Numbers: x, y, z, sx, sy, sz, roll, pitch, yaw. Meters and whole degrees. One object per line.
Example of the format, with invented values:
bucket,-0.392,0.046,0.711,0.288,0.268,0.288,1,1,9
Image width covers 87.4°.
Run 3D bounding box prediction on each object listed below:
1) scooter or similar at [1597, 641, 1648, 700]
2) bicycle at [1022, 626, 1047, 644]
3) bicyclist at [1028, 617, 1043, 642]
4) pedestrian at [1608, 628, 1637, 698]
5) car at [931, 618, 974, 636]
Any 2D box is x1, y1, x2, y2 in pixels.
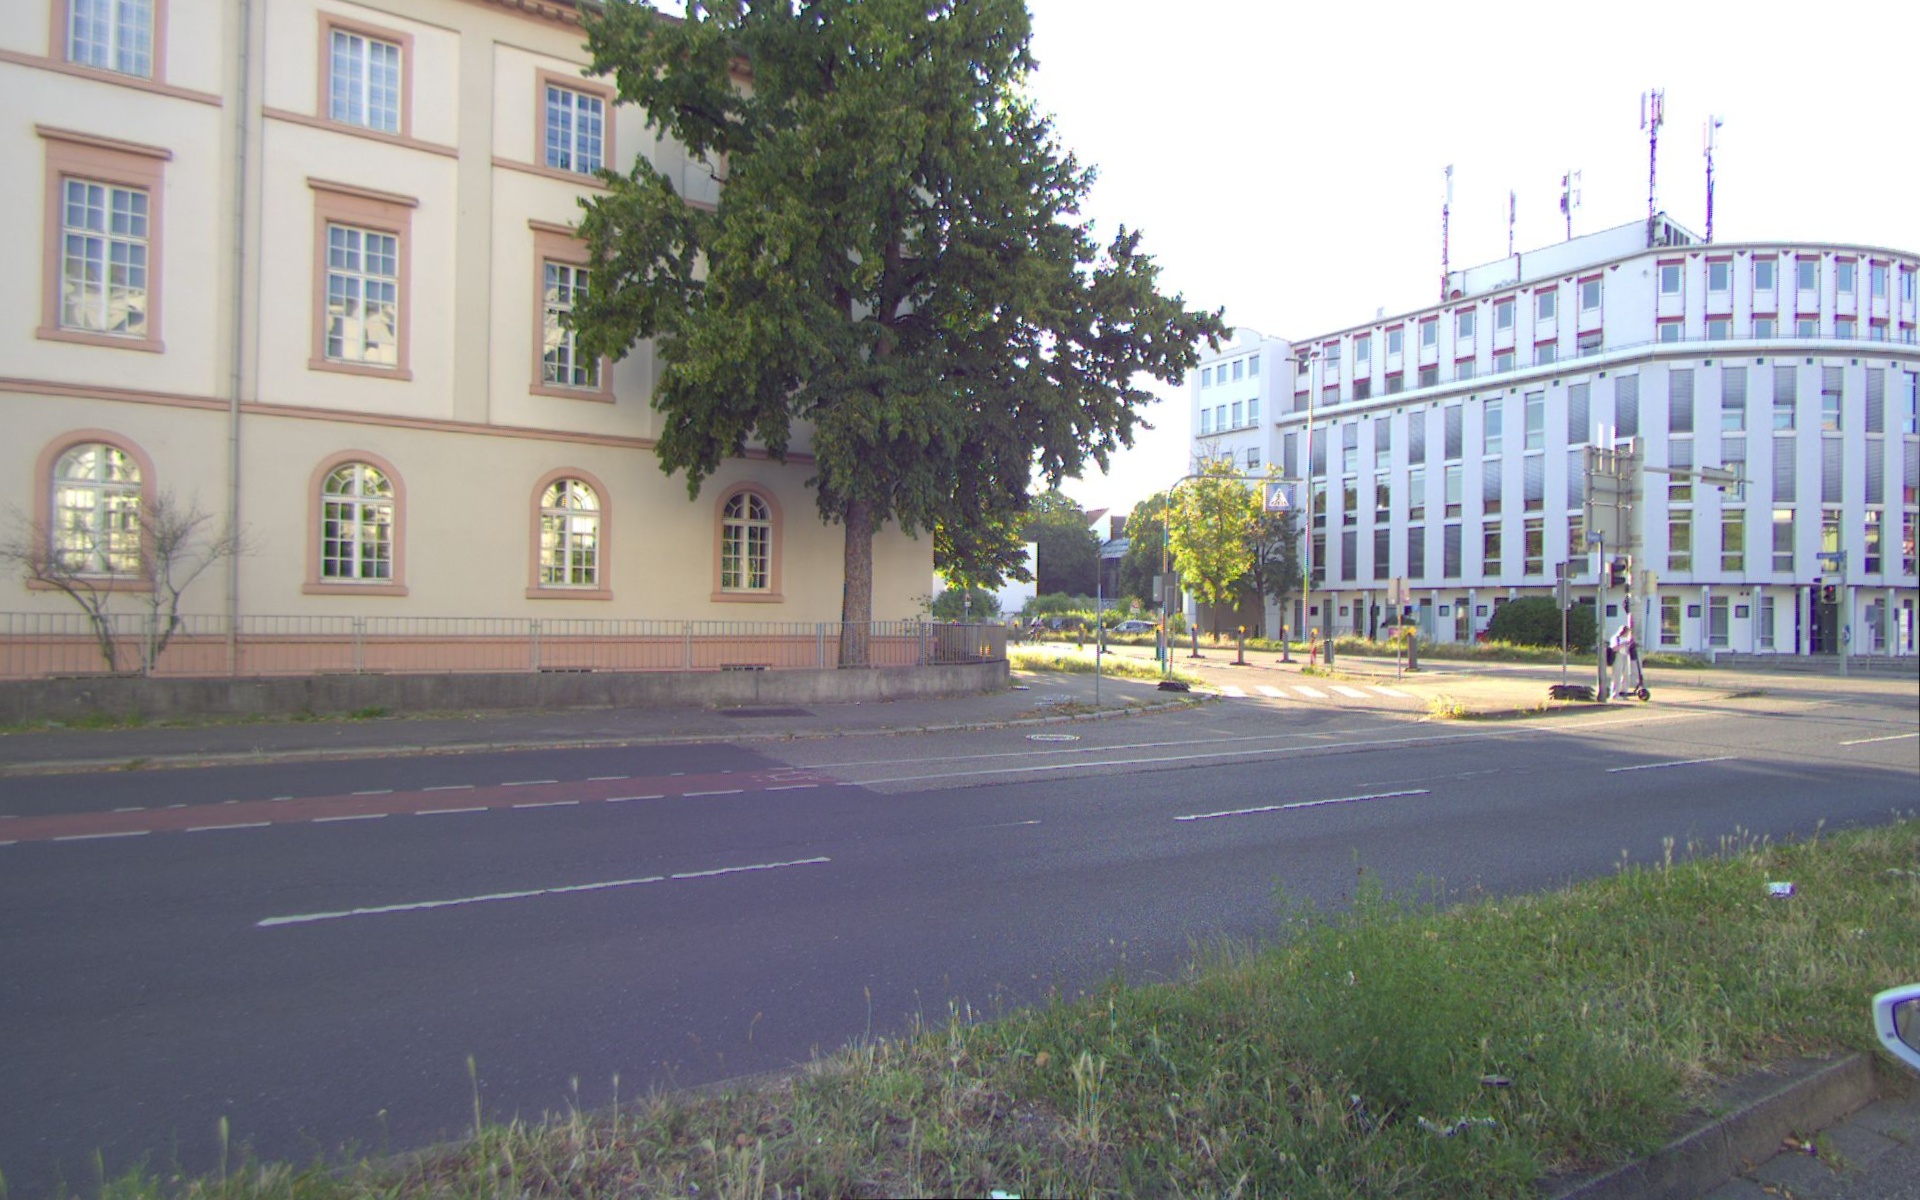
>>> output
scooter or similar,14.624,1.537,22.173,0.368,1.250,0.885,1,-1,-40
bicycle,4.467,2.093,60.200,0.498,1.056,1.786,1,-1,-35
bicyclist,4.523,1.756,60.120,0.453,1.516,0.879,1,-1,-36
pedestrian,14.731,1.400,22.326,0.332,1.525,0.470,1,-1,-41
car,-0.644,2.298,85.842,1.770,1.439,3.961,1,-1,-35
